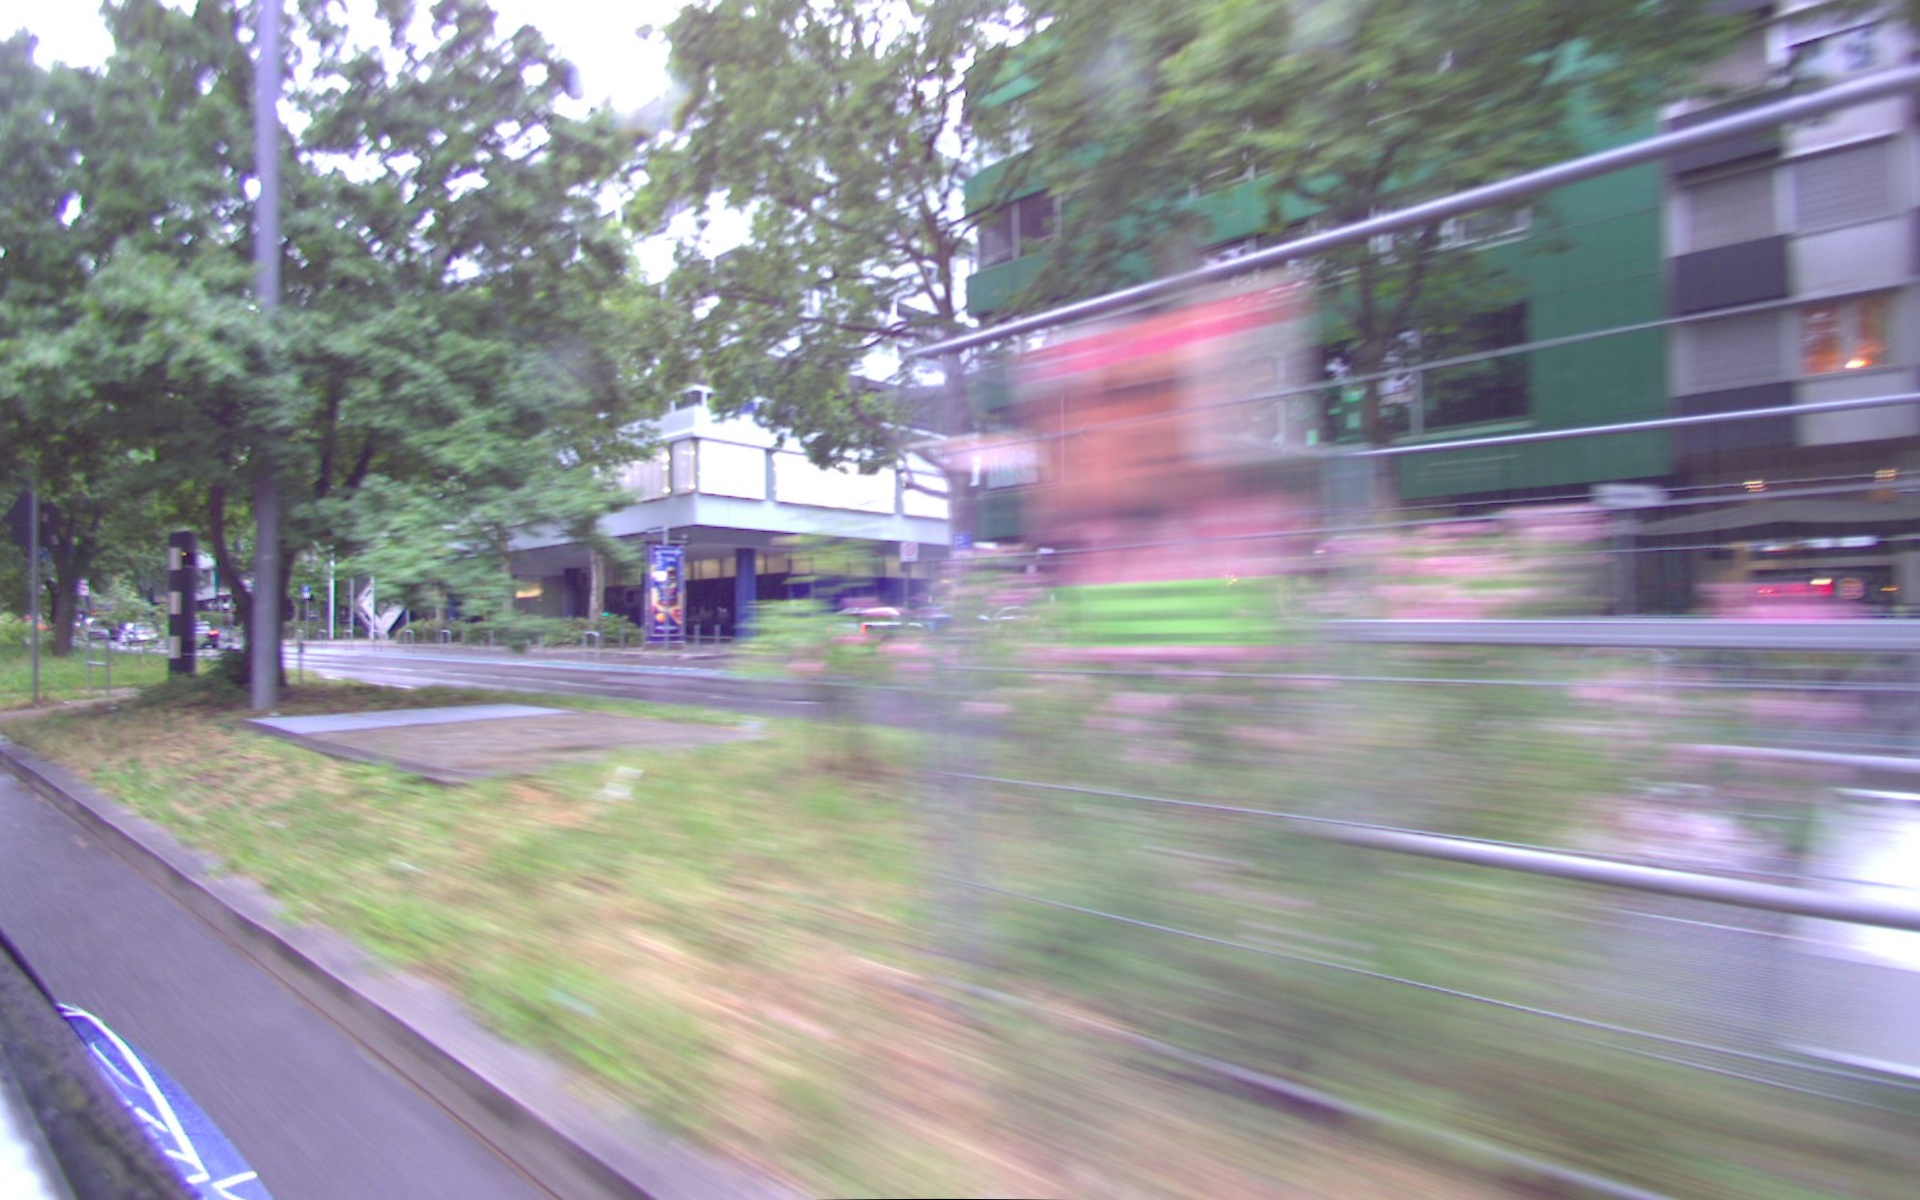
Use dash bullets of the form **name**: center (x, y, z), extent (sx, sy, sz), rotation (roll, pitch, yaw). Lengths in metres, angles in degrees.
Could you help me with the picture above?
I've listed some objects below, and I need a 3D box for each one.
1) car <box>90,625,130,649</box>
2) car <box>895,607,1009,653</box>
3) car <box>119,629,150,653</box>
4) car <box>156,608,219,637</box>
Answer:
- **car**: center (-66.838, 2.917, 79.564), extent (4.283, 1.815, 1.971), rotation (-2, -2, 45)
- **car**: center (-0.290, 1.251, 43.871), extent (2.001, 1.705, 4.932), rotation (-1, 1, 44)
- **car**: center (-53.456, 2.641, 65.529), extent (3.561, 1.473, 1.148), rotation (-2, -2, 44)
- **car**: center (-42.141, 1.243, 55.184), extent (4.757, 1.503, 1.971), rotation (-2, -3, 44)
